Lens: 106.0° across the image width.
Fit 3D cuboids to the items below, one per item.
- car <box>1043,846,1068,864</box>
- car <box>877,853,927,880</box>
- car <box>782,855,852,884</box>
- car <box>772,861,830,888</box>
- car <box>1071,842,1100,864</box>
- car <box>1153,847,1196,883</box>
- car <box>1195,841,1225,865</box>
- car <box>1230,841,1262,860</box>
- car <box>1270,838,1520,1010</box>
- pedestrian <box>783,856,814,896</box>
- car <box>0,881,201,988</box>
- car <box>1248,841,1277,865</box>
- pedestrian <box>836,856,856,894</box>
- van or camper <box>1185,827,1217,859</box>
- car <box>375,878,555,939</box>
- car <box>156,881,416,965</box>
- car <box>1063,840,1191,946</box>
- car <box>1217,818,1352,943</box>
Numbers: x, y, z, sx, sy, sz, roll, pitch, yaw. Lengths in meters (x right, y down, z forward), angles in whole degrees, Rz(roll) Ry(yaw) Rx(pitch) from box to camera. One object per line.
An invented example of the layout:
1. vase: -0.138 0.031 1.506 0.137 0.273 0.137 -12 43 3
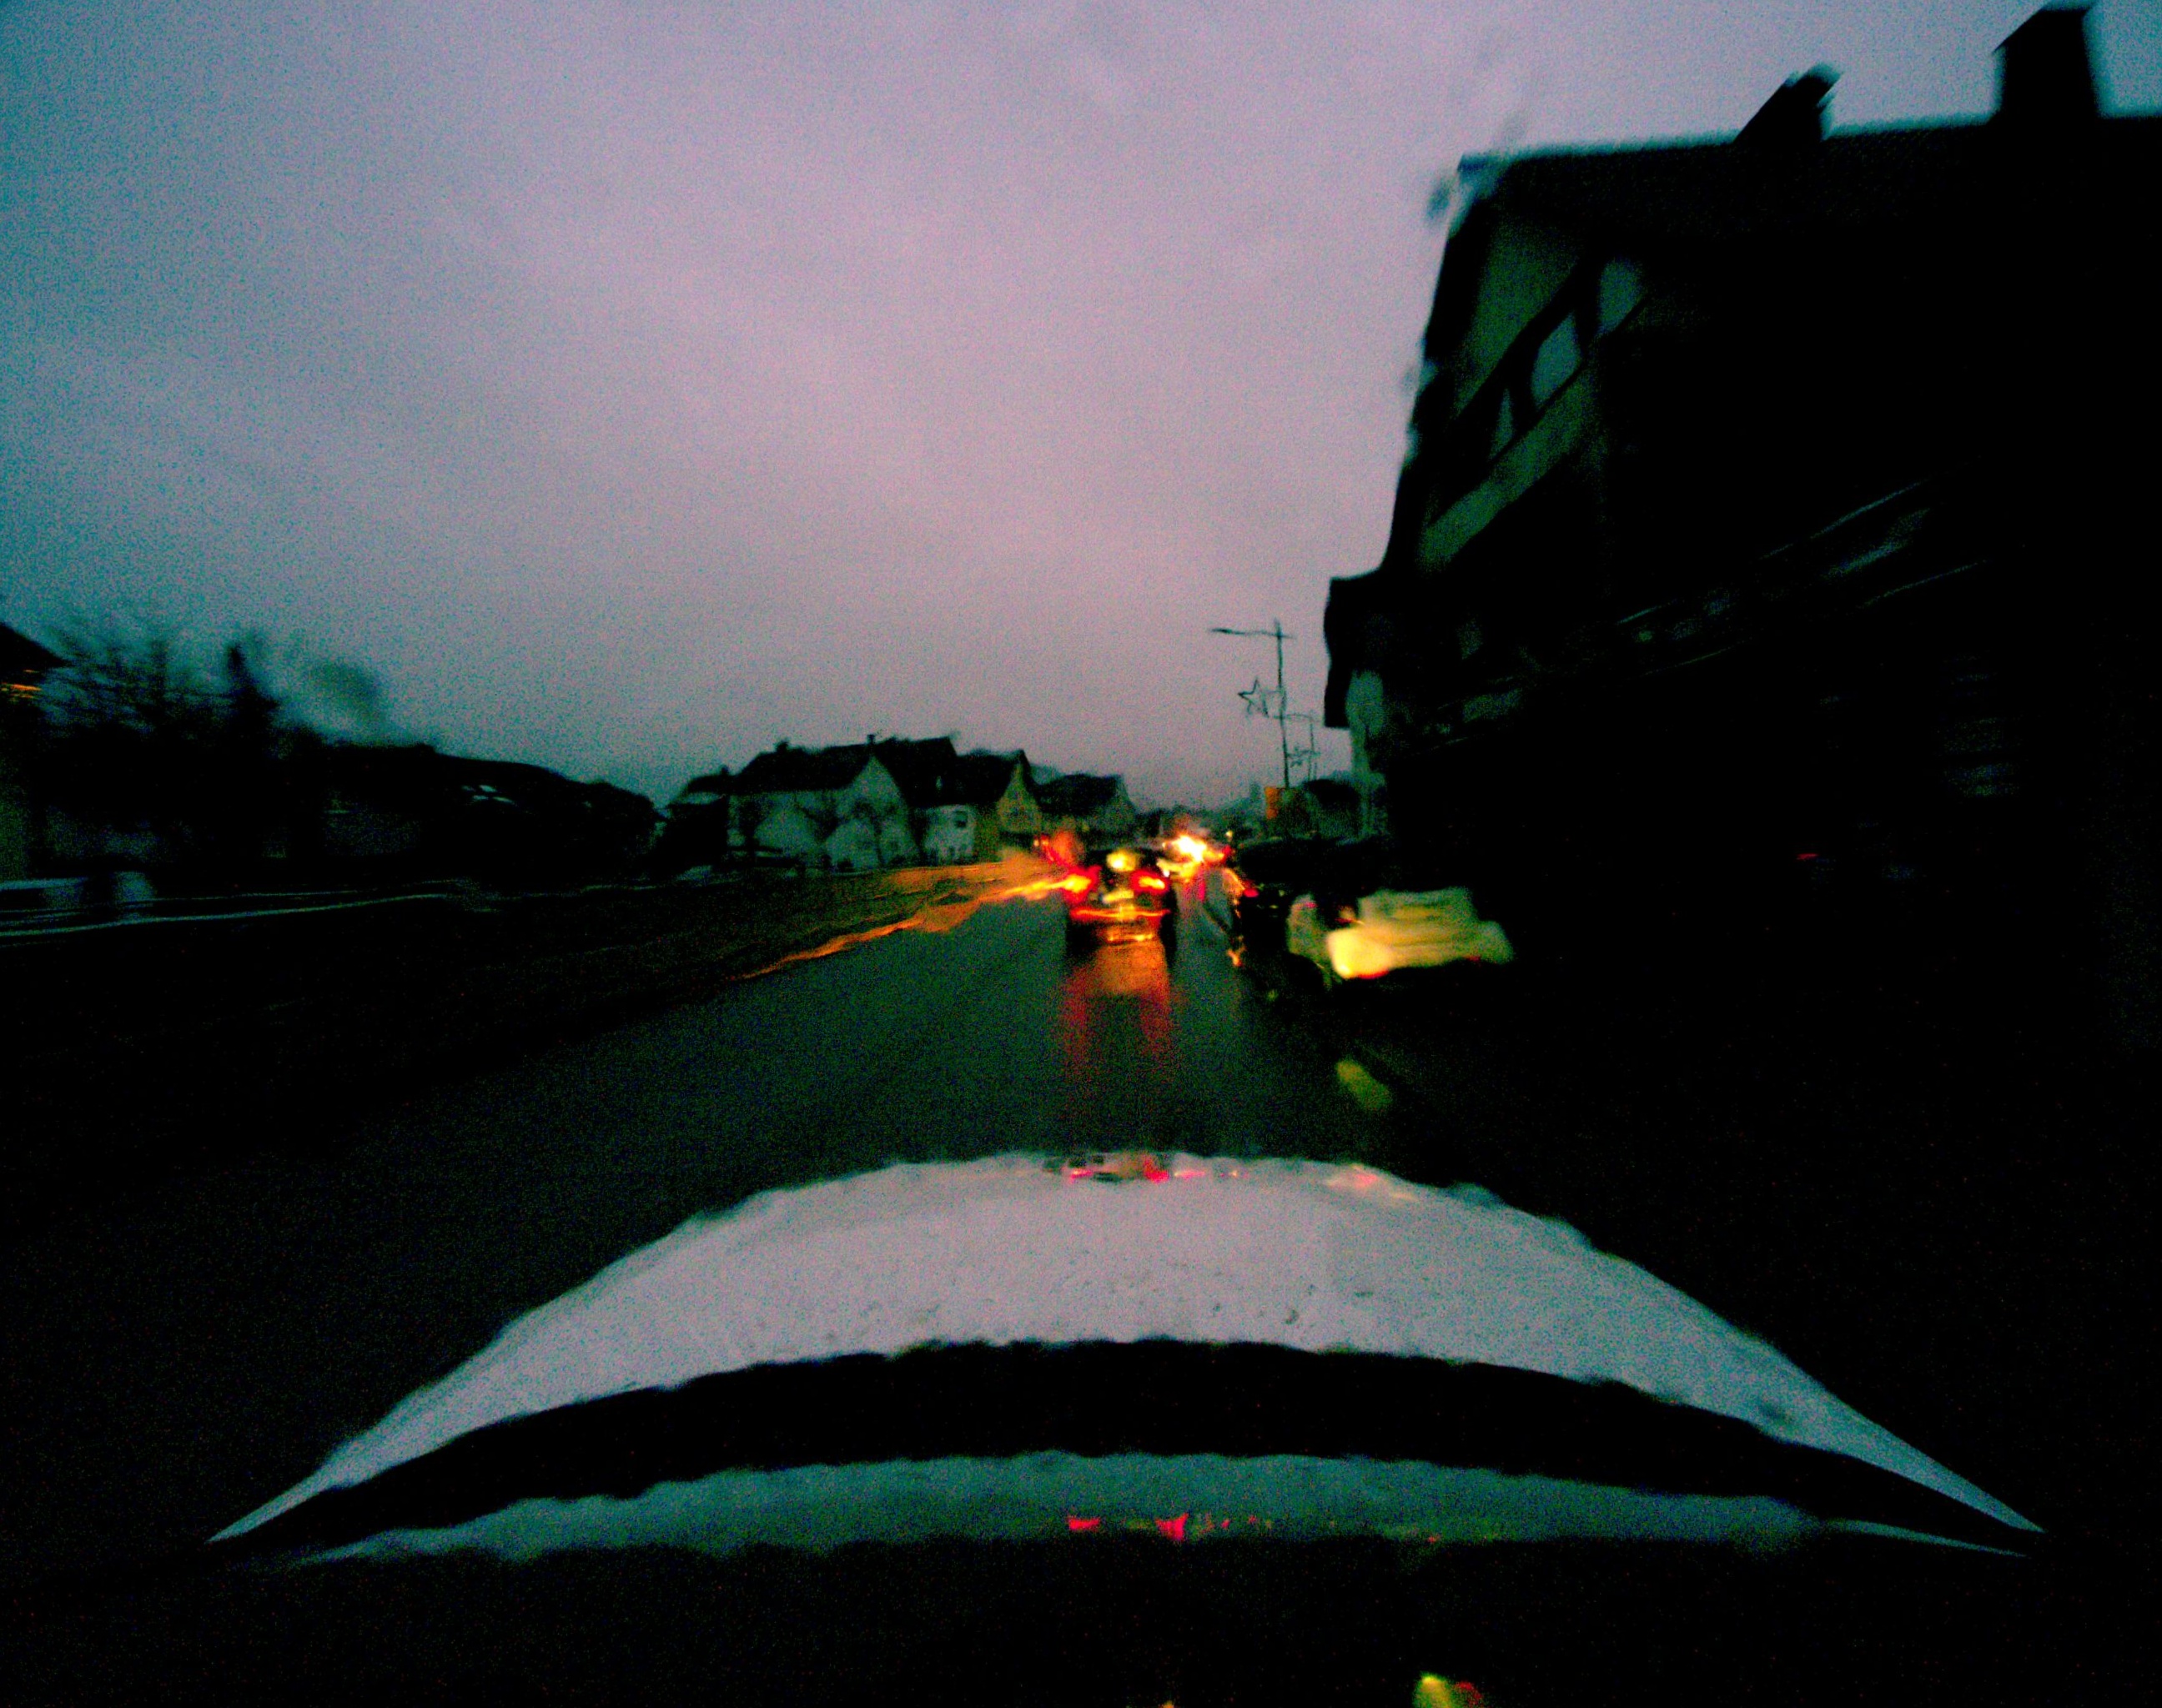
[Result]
1. car: -2.435 0.102 77.771 1.821 1.613 4.044 -3 1 -9
2. car: -12.873 0.868 58.845 1.898 1.682 4.231 -3 1 11
3. car: -17.746 1.027 54.858 3.963 1.694 1.869 -4 0 9
4. car: -15.794 1.133 46.070 1.472 1.427 3.470 -2 0 11
5. car: 0.379 -0.147 77.104 2.037 1.925 4.044 -3 1 -9
6. car: 4.100 0.462 36.266 1.675 1.453 4.003 -2 0 3
7. car: 8.385 -0.089 52.708 1.803 1.412 4.012 -1 1 10
8. car: 13.064 -0.305 64.476 1.977 1.391 4.019 -2 1 18
9. car: 3.132 0.613 8.674 1.638 1.415 2.730 -5 0 3
10. pedestrian: -13.174 1.012 38.026 0.921 1.784 0.977 -1 0 13
11. car: -20.592 1.596 15.778 1.865 1.778 4.508 -4 1 5
12. car: 16.727 -0.125 75.091 2.141 1.991 4.519 -6 -1 16
13. pedestrian: -10.792 0.957 37.481 0.659 1.697 0.543 -1 0 13
14. van or camper: 10.874 -1.032 73.322 2.225 2.669 6.579 -3 1 13
15. car: -19.352 1.659 25.894 1.864 1.433 4.511 -4 1 7
16. car: -20.100 1.673 20.949 1.864 1.572 4.511 -4 1 7
17. car: 0.731 0.565 14.844 1.958 1.594 4.313 -1 1 0
18. car: 3.449 0.387 14.483 1.760 1.782 4.009 -5 0 8
